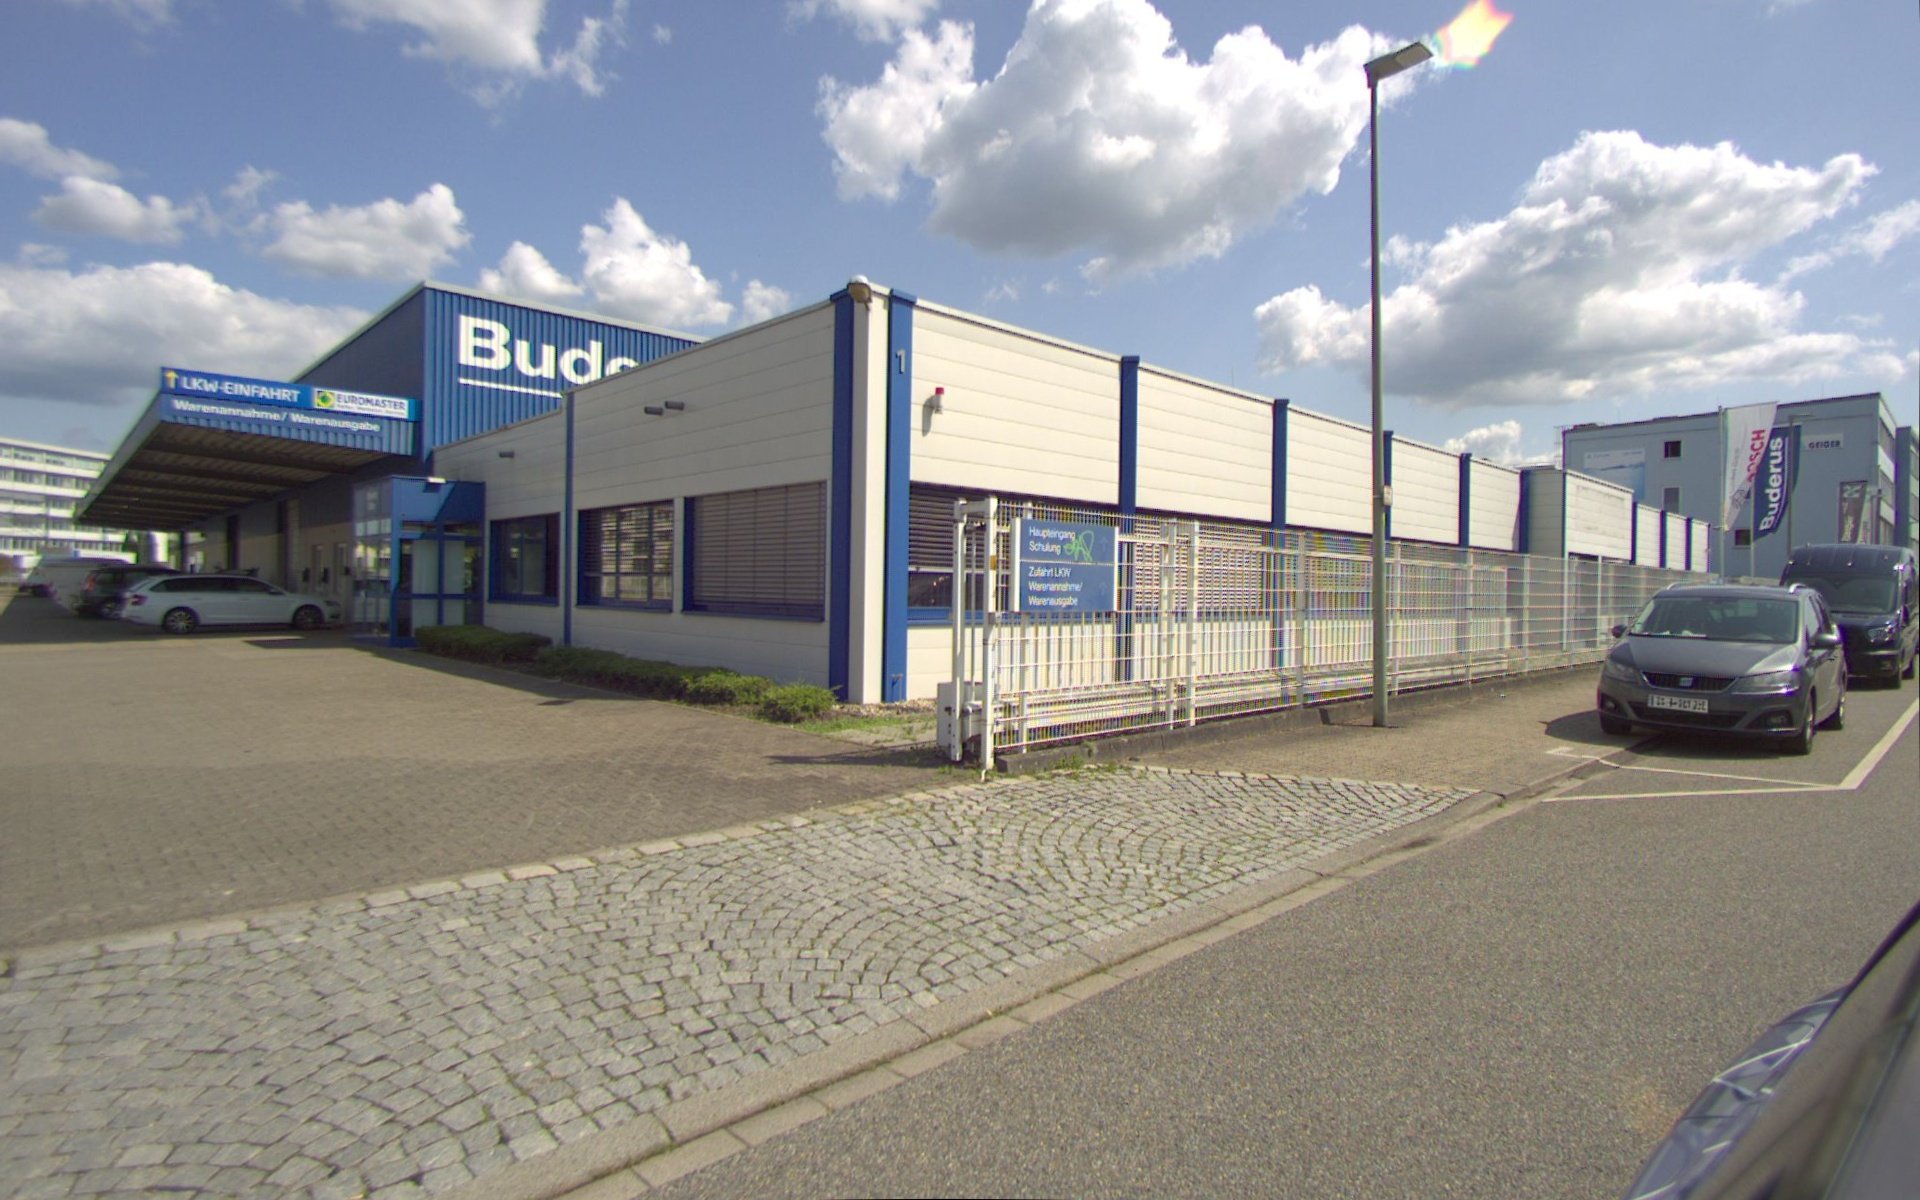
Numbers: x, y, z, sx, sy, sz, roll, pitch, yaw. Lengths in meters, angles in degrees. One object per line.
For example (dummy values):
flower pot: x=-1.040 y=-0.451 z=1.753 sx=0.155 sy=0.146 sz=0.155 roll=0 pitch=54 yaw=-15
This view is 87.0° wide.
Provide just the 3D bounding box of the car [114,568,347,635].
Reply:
car: x=-18.657 y=-0.040 z=26.024 sx=4.707 sy=1.565 sz=1.668 roll=-2 pitch=2 yaw=-42

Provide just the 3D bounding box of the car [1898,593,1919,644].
car: x=30.375 y=0.544 z=31.458 sx=4.064 sy=1.526 sz=1.574 roll=0 pitch=1 yaw=-44

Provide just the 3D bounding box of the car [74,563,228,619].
car: x=-26.728 y=-0.294 z=33.482 sx=3.892 sy=1.764 sz=1.668 roll=0 pitch=1 yaw=-42

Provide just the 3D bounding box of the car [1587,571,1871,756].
car: x=8.856 y=0.557 z=11.497 sx=4.479 sy=1.685 sz=1.827 roll=0 pitch=1 yaw=-43

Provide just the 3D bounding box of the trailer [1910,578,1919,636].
trailer: x=35.001 y=0.240 z=36.006 sx=2.695 sy=2.063 sz=1.602 roll=0 pitch=0 yaw=-44

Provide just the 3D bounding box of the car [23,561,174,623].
car: x=-29.802 y=-0.291 z=35.101 sx=3.892 sy=2.039 sz=1.668 roll=0 pitch=1 yaw=-42

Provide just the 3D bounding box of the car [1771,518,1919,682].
car: x=17.774 y=-0.021 z=20.007 sx=6.052 sy=2.783 sz=1.939 roll=0 pitch=1 yaw=-44
